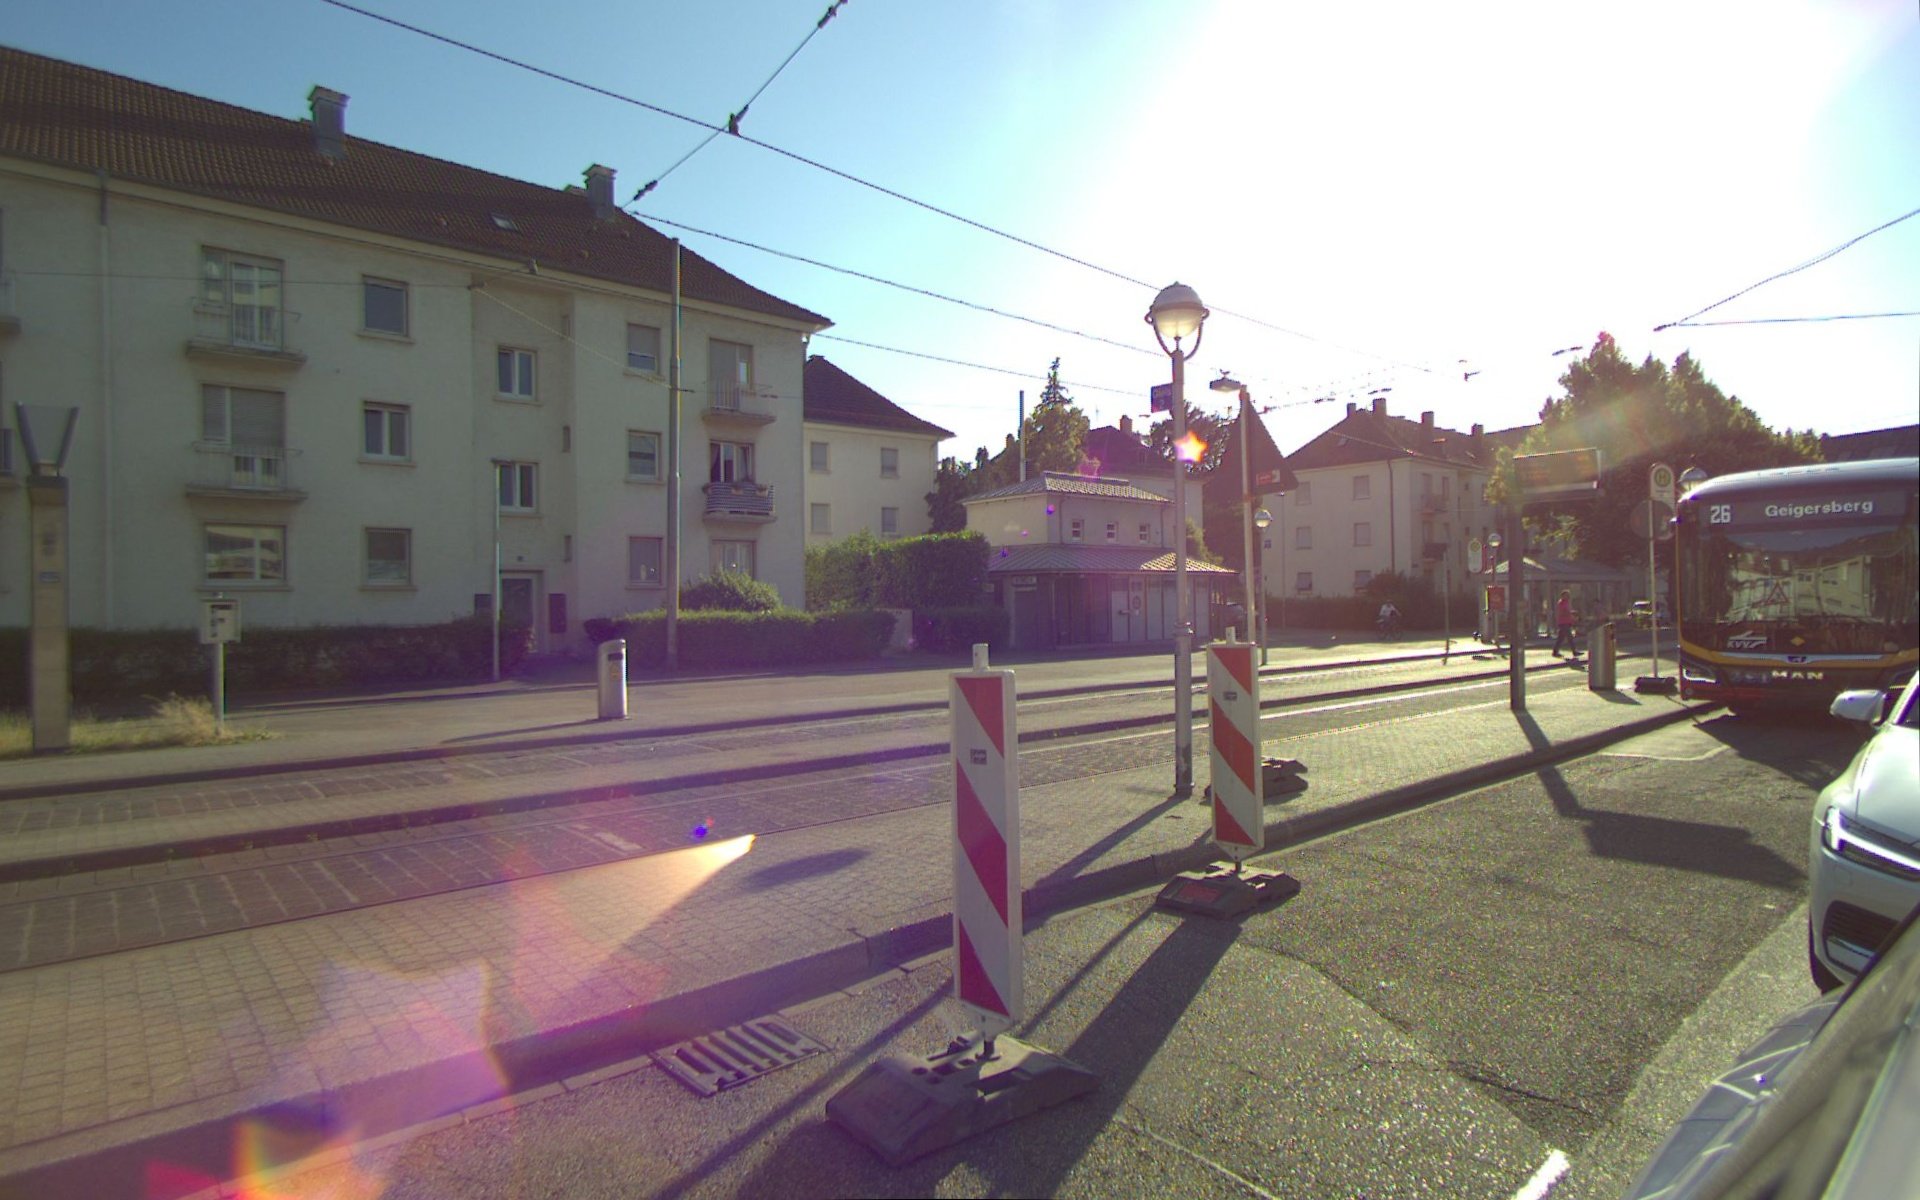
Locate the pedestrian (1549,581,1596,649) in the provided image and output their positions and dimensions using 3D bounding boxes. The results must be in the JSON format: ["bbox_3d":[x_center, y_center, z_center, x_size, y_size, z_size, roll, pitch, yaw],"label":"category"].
[{"bbox_3d":[15.872,0.375,26.230,0.811,1.740,0.840,0,0,-43],"label":"pedestrian"}]

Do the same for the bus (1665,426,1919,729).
[{"bbox_3d":[14.326,-0.268,15.846,11.824,3.345,2.745,0,0,-42],"label":"bus"}]

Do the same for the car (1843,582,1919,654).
[{"bbox_3d":[21.234,0.355,22.364,4.740,1.477,1.968,0,0,-41],"label":"car"}]

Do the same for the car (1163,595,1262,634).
[{"bbox_3d":[11.595,0.681,46.668,1.964,1.694,4.050,-1,-1,-39],"label":"car"}]

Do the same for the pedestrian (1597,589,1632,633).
[{"bbox_3d":[24.610,0.410,38.059,0.809,1.631,0.843,0,0,-31],"label":"pedestrian"}]

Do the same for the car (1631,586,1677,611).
[{"bbox_3d":[53.790,-0.115,78.434,3.930,1.887,1.997,-1,0,-41],"label":"car"}]

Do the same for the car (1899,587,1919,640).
[{"bbox_3d":[28.794,0.363,29.229,4.740,1.477,1.968,0,0,-41],"label":"car"}]

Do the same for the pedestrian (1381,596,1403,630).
[{"bbox_3d":[17.619,0.528,41.282,0.568,1.398,0.659,0,0,-8],"label":"pedestrian"}]

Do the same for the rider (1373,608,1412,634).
[{"bbox_3d":[17.623,0.855,41.292,0.568,1.004,1.860,0,0,-9],"label":"rider"}]

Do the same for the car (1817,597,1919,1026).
[{"bbox_3d":[5.282,0.728,4.359,4.143,1.472,1.819,0,0,-41],"label":"car"}]
